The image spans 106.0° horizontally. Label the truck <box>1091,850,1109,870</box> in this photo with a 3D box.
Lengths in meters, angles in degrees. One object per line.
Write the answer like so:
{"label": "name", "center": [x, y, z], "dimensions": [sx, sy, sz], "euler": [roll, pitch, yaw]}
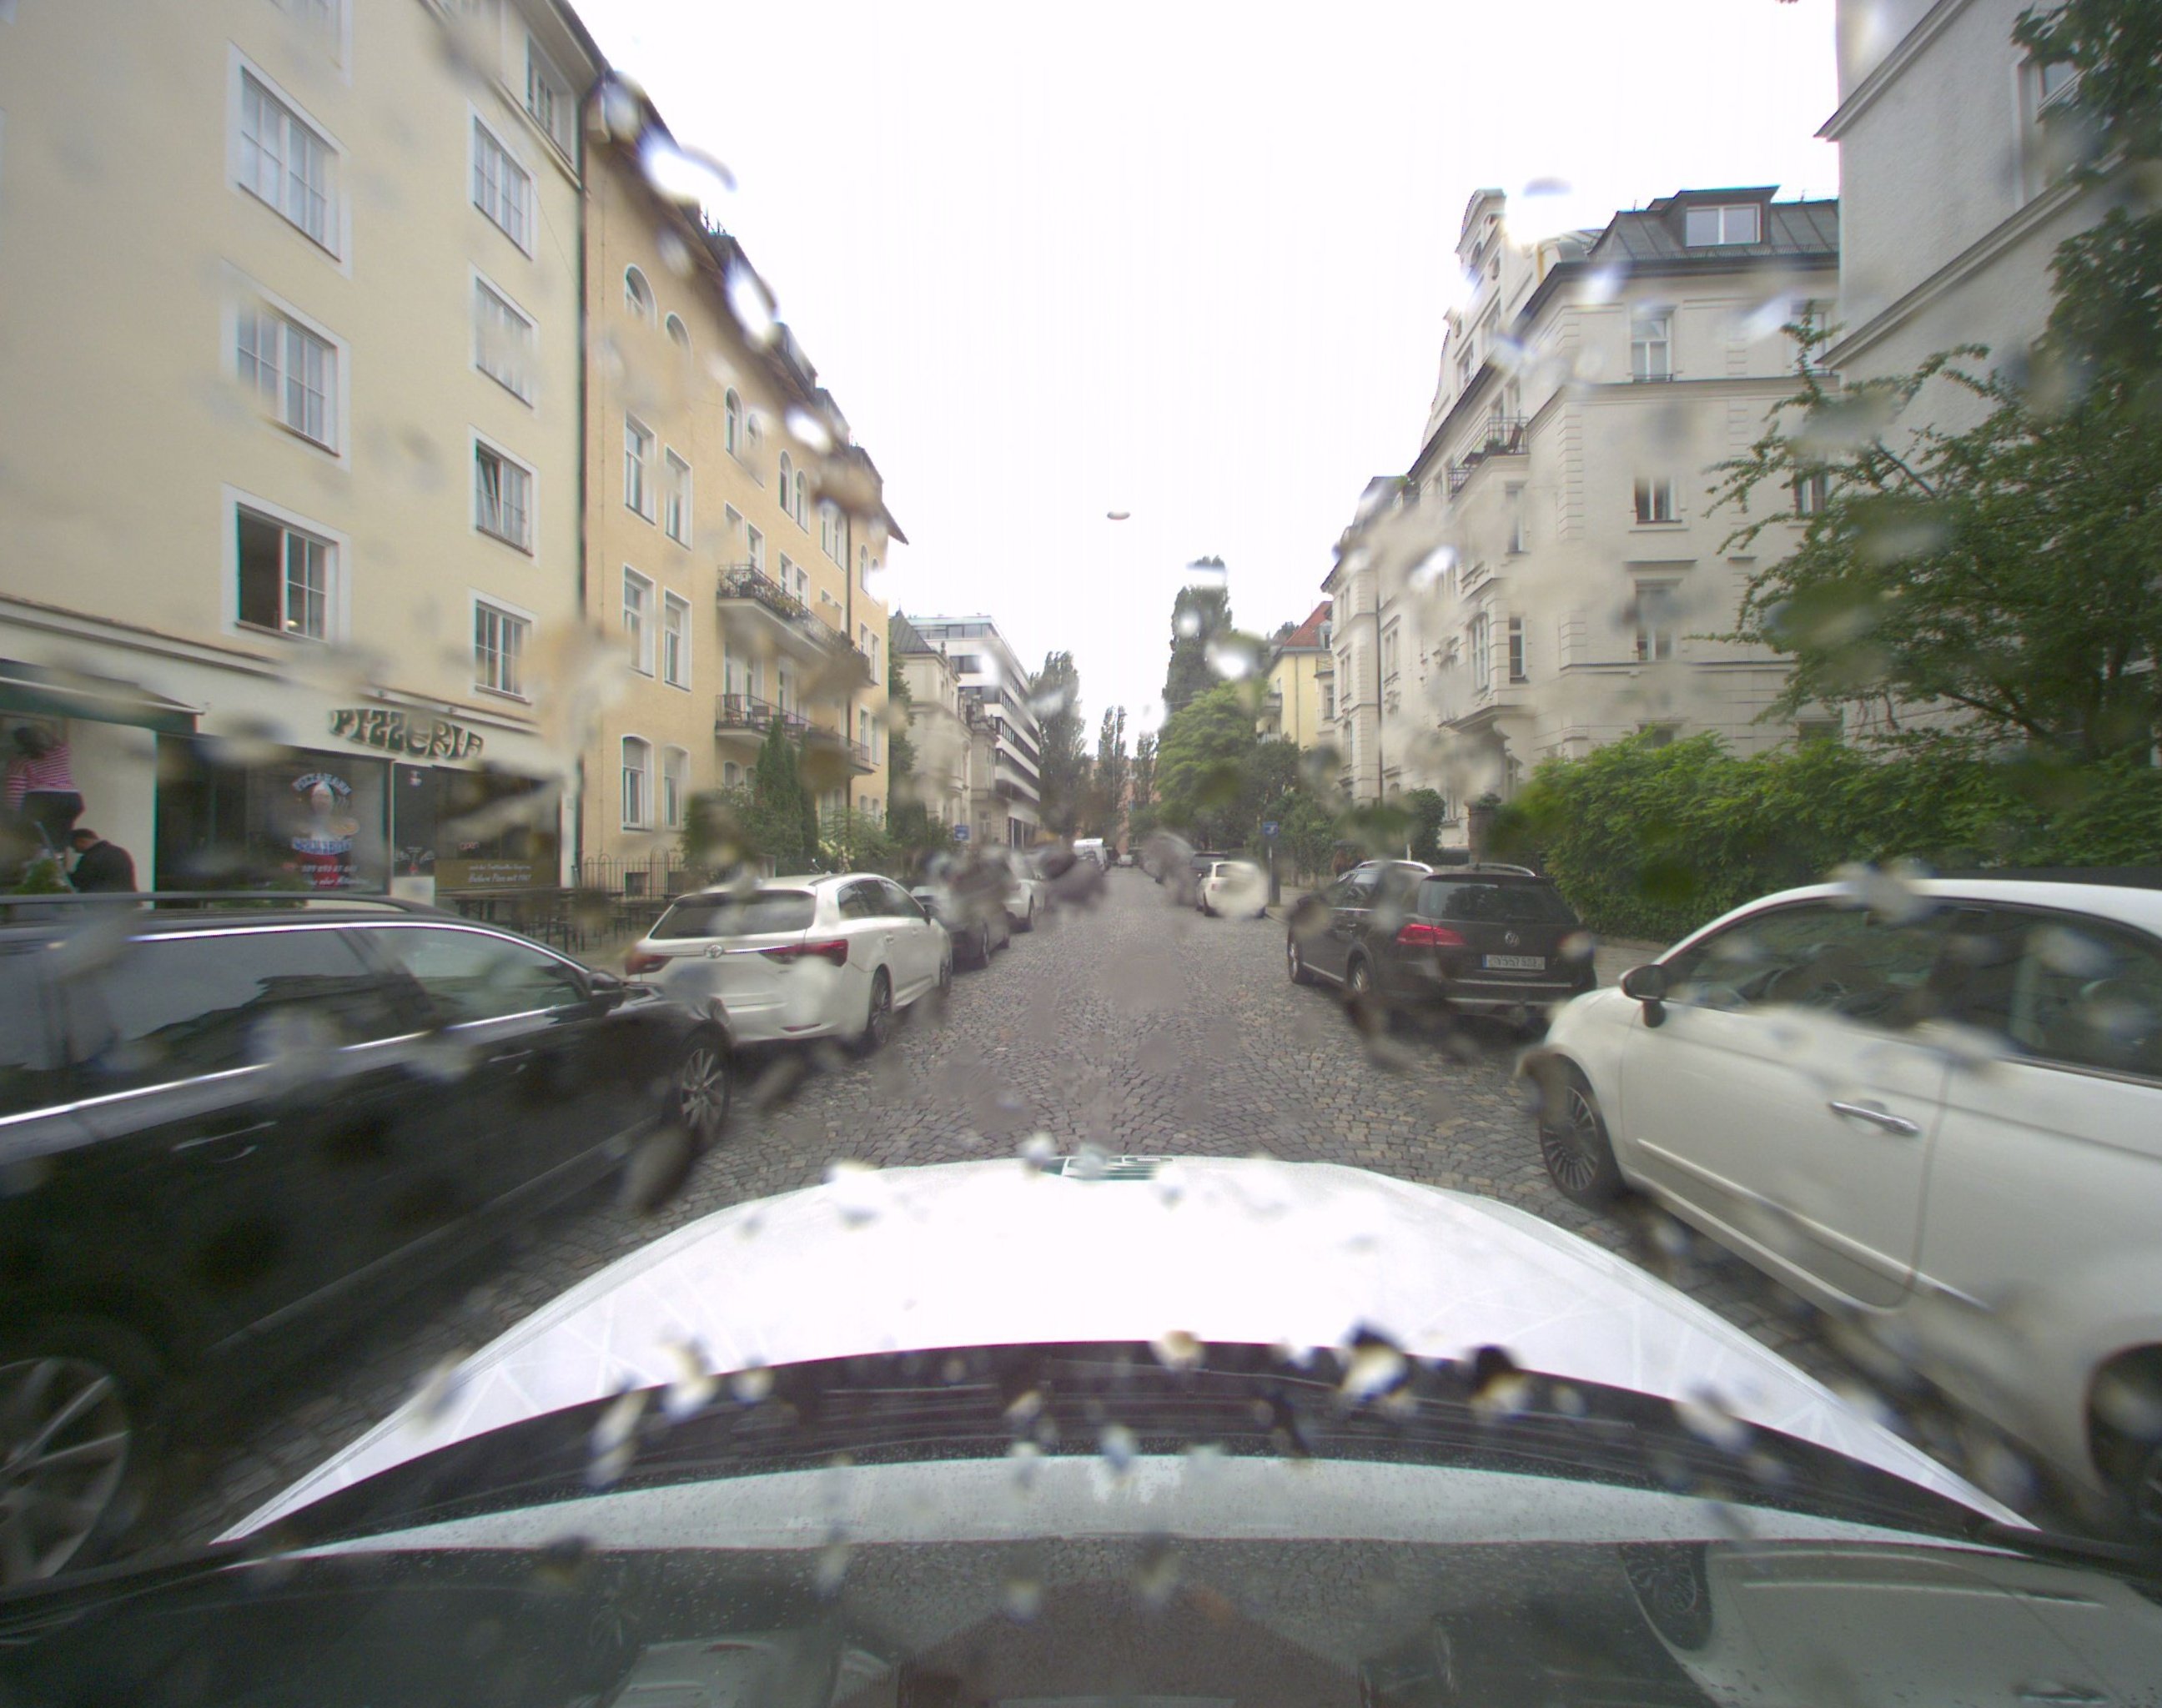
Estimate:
{"label": "truck", "center": [2.224, 0.710, 95.119], "dimensions": [1.985, 2.347, 4.071], "euler": [0, -1, 3]}

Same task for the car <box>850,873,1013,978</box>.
{"label": "car", "center": [-2.188, 1.012, 13.124], "dimensions": [1.768, 1.359, 4.390], "euler": [0, -1, 0]}

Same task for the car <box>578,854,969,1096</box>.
{"label": "car", "center": [-2.467, 0.880, 7.939], "dimensions": [1.766, 1.536, 4.544], "euler": [-5, -1, 3]}

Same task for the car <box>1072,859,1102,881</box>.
{"label": "car", "center": [0.450, 1.089, 55.079], "dimensions": [1.932, 1.459, 4.059], "euler": [0, -1, 2]}

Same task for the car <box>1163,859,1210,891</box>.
{"label": "car", "center": [5.025, 1.000, 39.286], "dimensions": [1.768, 1.429, 4.390], "euler": [0, -1, 0]}

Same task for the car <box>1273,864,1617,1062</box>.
{"label": "car", "center": [3.319, 0.861, 8.525], "dimensions": [1.642, 1.422, 4.634], "euler": [3, -1, 2]}

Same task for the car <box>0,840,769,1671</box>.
{"label": "car", "center": [-2.953, 0.789, 2.752], "dimensions": [1.845, 1.586, 4.749], "euler": [0, -1, 2]}

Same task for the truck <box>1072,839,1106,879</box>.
{"label": "truck", "center": [0.711, 0.384, 66.392], "dimensions": [2.499, 3.032, 6.387], "euler": [-3, 0, 2]}

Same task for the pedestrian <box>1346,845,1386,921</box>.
{"label": "pedestrian", "center": [6.922, 0.694, 19.796], "dimensions": [0.630, 1.808, 0.656], "euler": [0, -1, -20]}

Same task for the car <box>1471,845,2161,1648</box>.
{"label": "car", "center": [2.826, 0.742, 2.704], "dimensions": [1.495, 1.471, 3.799], "euler": [0, -1, 4]}

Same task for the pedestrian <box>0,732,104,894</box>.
{"label": "pedestrian", "center": [-10.736, -0.409, 8.489], "dimensions": [0.475, 1.642, 0.498], "euler": [0, -1, 7]}

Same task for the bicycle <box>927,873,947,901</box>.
{"label": "bicycle", "center": [-5.467, 1.248, 30.901], "dimensions": [0.350, 1.003, 1.574], "euler": [0, -1, 4]}

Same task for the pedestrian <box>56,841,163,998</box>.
{"label": "pedestrian", "center": [-10.807, 0.709, 9.076], "dimensions": [0.459, 1.690, 0.575], "euler": [0, -1, 3]}

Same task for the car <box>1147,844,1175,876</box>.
{"label": "car", "center": [6.558, 0.487, 67.231], "dimensions": [1.887, 2.426, 5.614], "euler": [3, 0, 2]}

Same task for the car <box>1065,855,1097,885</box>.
{"label": "car", "center": [0.042, 0.983, 49.772], "dimensions": [1.767, 1.718, 4.393], "euler": [0, -1, 2]}

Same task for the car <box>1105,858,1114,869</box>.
{"label": "car", "center": [4.263, 1.433, 120.957], "dimensions": [1.271, 1.541, 3.121], "euler": [0, -1, 3]}

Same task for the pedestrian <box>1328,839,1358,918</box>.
{"label": "pedestrian", "center": [6.212, 0.572, 19.313], "dimensions": [0.572, 1.850, 0.684], "euler": [-1, -1, 10]}

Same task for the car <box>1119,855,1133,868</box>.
{"label": "car", "center": [6.542, 1.111, 117.946], "dimensions": [1.987, 1.936, 4.005], "euler": [-1, -1, 4]}

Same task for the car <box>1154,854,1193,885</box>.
{"label": "car", "center": [5.474, 0.900, 48.818], "dimensions": [1.955, 1.759, 4.957], "euler": [0, -1, 2]}

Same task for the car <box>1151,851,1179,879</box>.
{"label": "car", "center": [6.350, 0.846, 61.748], "dimensions": [1.793, 1.949, 4.863], "euler": [2, -1, 2]}

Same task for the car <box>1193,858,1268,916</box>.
{"label": "car", "center": [4.168, 0.883, 23.136], "dimensions": [1.623, 1.469, 3.661], "euler": [2, -1, 3]}

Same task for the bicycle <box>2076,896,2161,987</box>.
{"label": "bicycle", "center": [10.119, 0.811, 7.040], "dimensions": [0.489, 0.812, 2.278], "euler": [0, -1, 7]}

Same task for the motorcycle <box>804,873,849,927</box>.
{"label": "motorcycle", "center": [-6.028, 1.072, 19.324], "dimensions": [0.489, 1.194, 1.580], "euler": [-1, 0, 2]}

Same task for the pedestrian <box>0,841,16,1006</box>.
{"label": "pedestrian", "center": [-10.989, 0.688, 7.868], "dimensions": [0.520, 1.642, 0.630], "euler": [0, -1, 2]}

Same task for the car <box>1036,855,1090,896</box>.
{"label": "car", "center": [-0.738, 0.905, 36.741], "dimensions": [1.974, 1.737, 4.727], "euler": [0, 0, 4]}

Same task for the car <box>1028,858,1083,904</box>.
{"label": "car", "center": [-0.931, 1.012, 31.578], "dimensions": [1.572, 1.590, 4.061], "euler": [-3, -1, 5]}

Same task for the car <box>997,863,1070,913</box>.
{"label": "car", "center": [-1.382, 1.005, 25.319], "dimensions": [1.766, 1.429, 4.394], "euler": [0, -1, 3]}

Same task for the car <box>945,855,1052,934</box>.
{"label": "car", "center": [-1.800, 0.873, 19.147], "dimensions": [1.766, 1.647, 4.395], "euler": [0, -1, 4]}

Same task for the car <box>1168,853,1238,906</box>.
{"label": "car", "center": [4.145, 0.854, 28.487], "dimensions": [1.867, 1.673, 5.494], "euler": [0, -1, 2]}

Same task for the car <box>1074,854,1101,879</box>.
{"label": "car", "center": [0.519, 0.938, 60.364], "dimensions": [1.887, 1.751, 4.169], "euler": [-1, 0, 1]}

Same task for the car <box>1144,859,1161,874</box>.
{"label": "car", "center": [6.994, 1.225, 79.913], "dimensions": [1.593, 1.486, 3.481], "euler": [0, -1, 2]}
